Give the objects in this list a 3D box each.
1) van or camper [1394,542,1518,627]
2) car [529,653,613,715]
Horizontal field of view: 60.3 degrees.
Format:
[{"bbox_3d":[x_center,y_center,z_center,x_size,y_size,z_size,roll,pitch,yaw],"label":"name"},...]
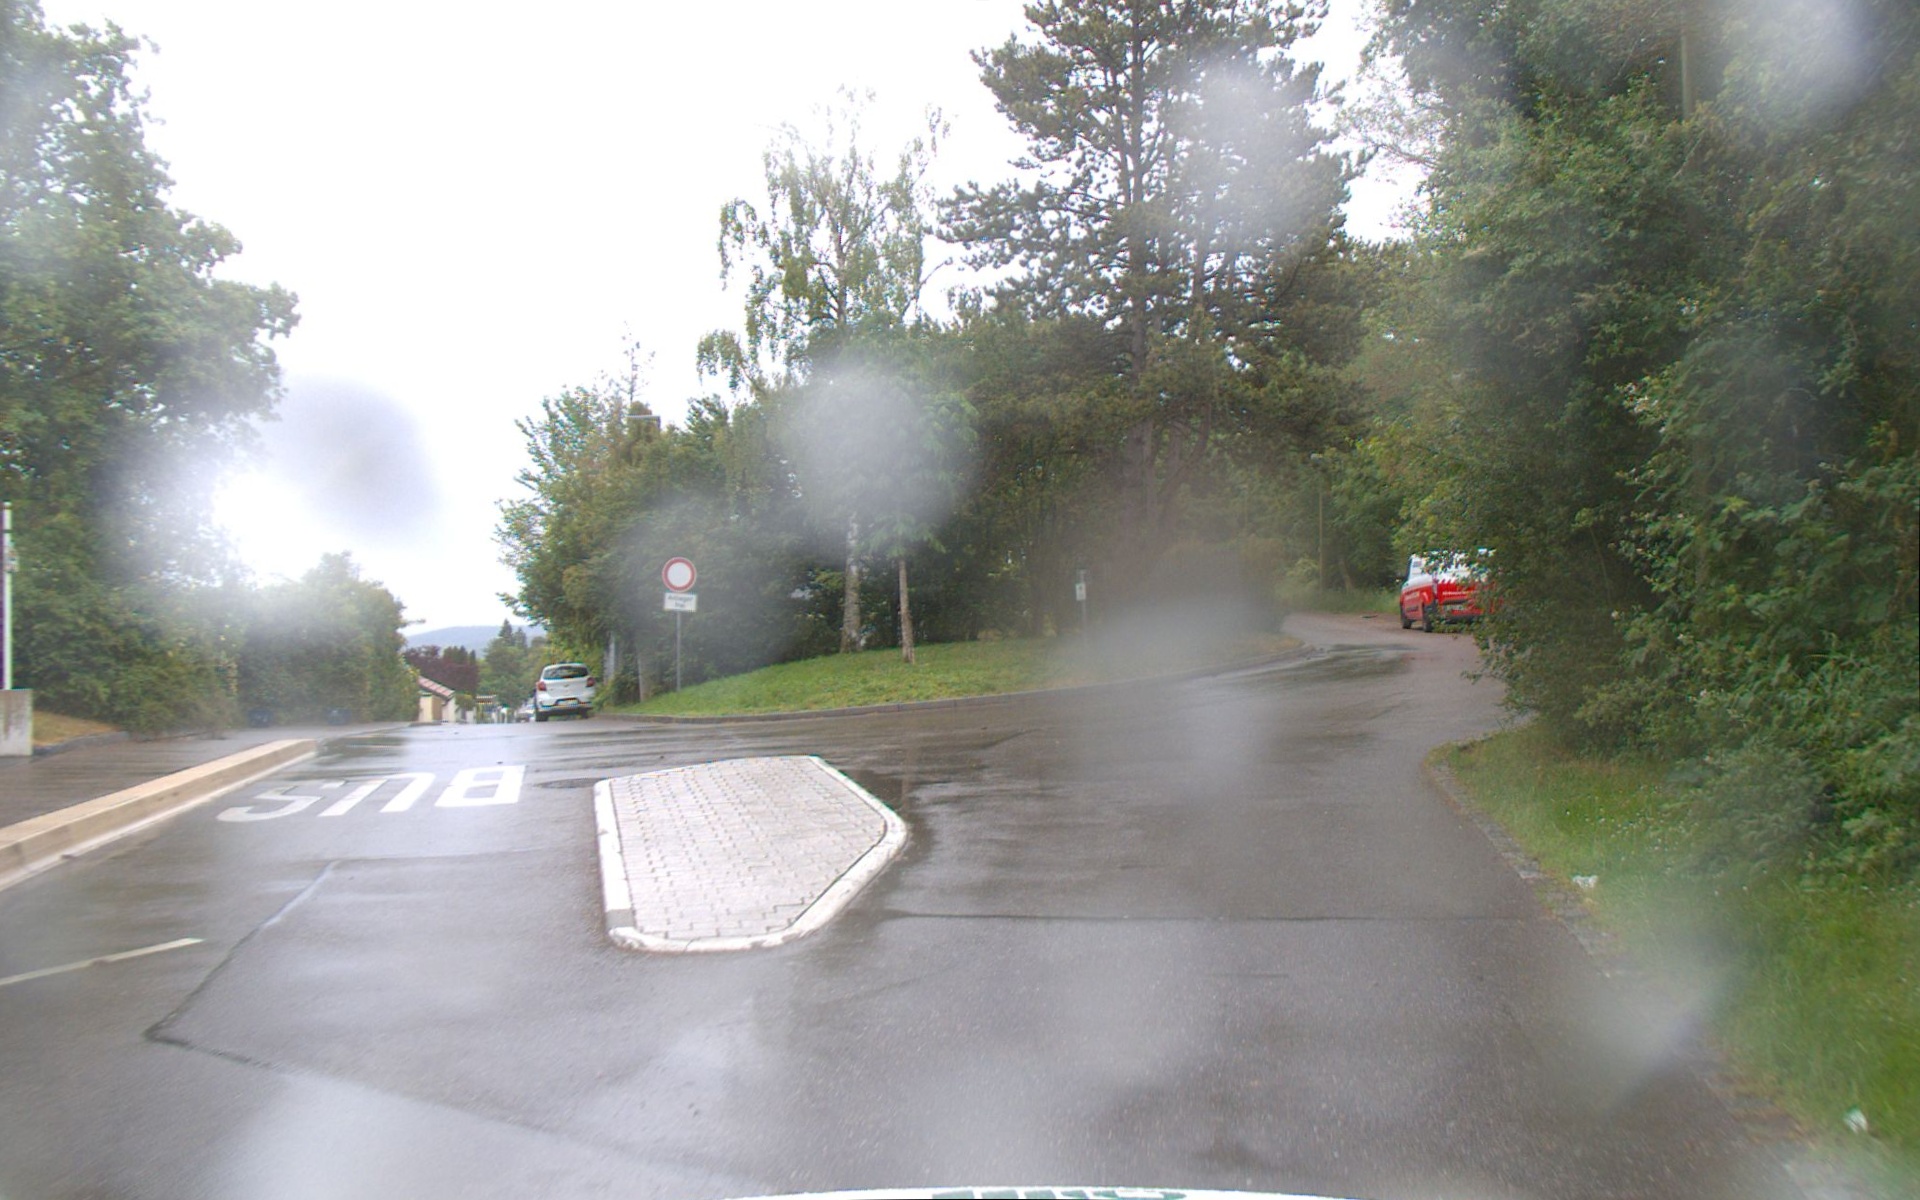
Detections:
[{"bbox_3d":[12.318,-0.348,41.360,1.952,1.915,4.455,-2,-1,4],"label":"van or camper"},{"bbox_3d":[-10.838,2.379,46.305,1.957,1.611,3.990,-1,-4,-9],"label":"car"}]
